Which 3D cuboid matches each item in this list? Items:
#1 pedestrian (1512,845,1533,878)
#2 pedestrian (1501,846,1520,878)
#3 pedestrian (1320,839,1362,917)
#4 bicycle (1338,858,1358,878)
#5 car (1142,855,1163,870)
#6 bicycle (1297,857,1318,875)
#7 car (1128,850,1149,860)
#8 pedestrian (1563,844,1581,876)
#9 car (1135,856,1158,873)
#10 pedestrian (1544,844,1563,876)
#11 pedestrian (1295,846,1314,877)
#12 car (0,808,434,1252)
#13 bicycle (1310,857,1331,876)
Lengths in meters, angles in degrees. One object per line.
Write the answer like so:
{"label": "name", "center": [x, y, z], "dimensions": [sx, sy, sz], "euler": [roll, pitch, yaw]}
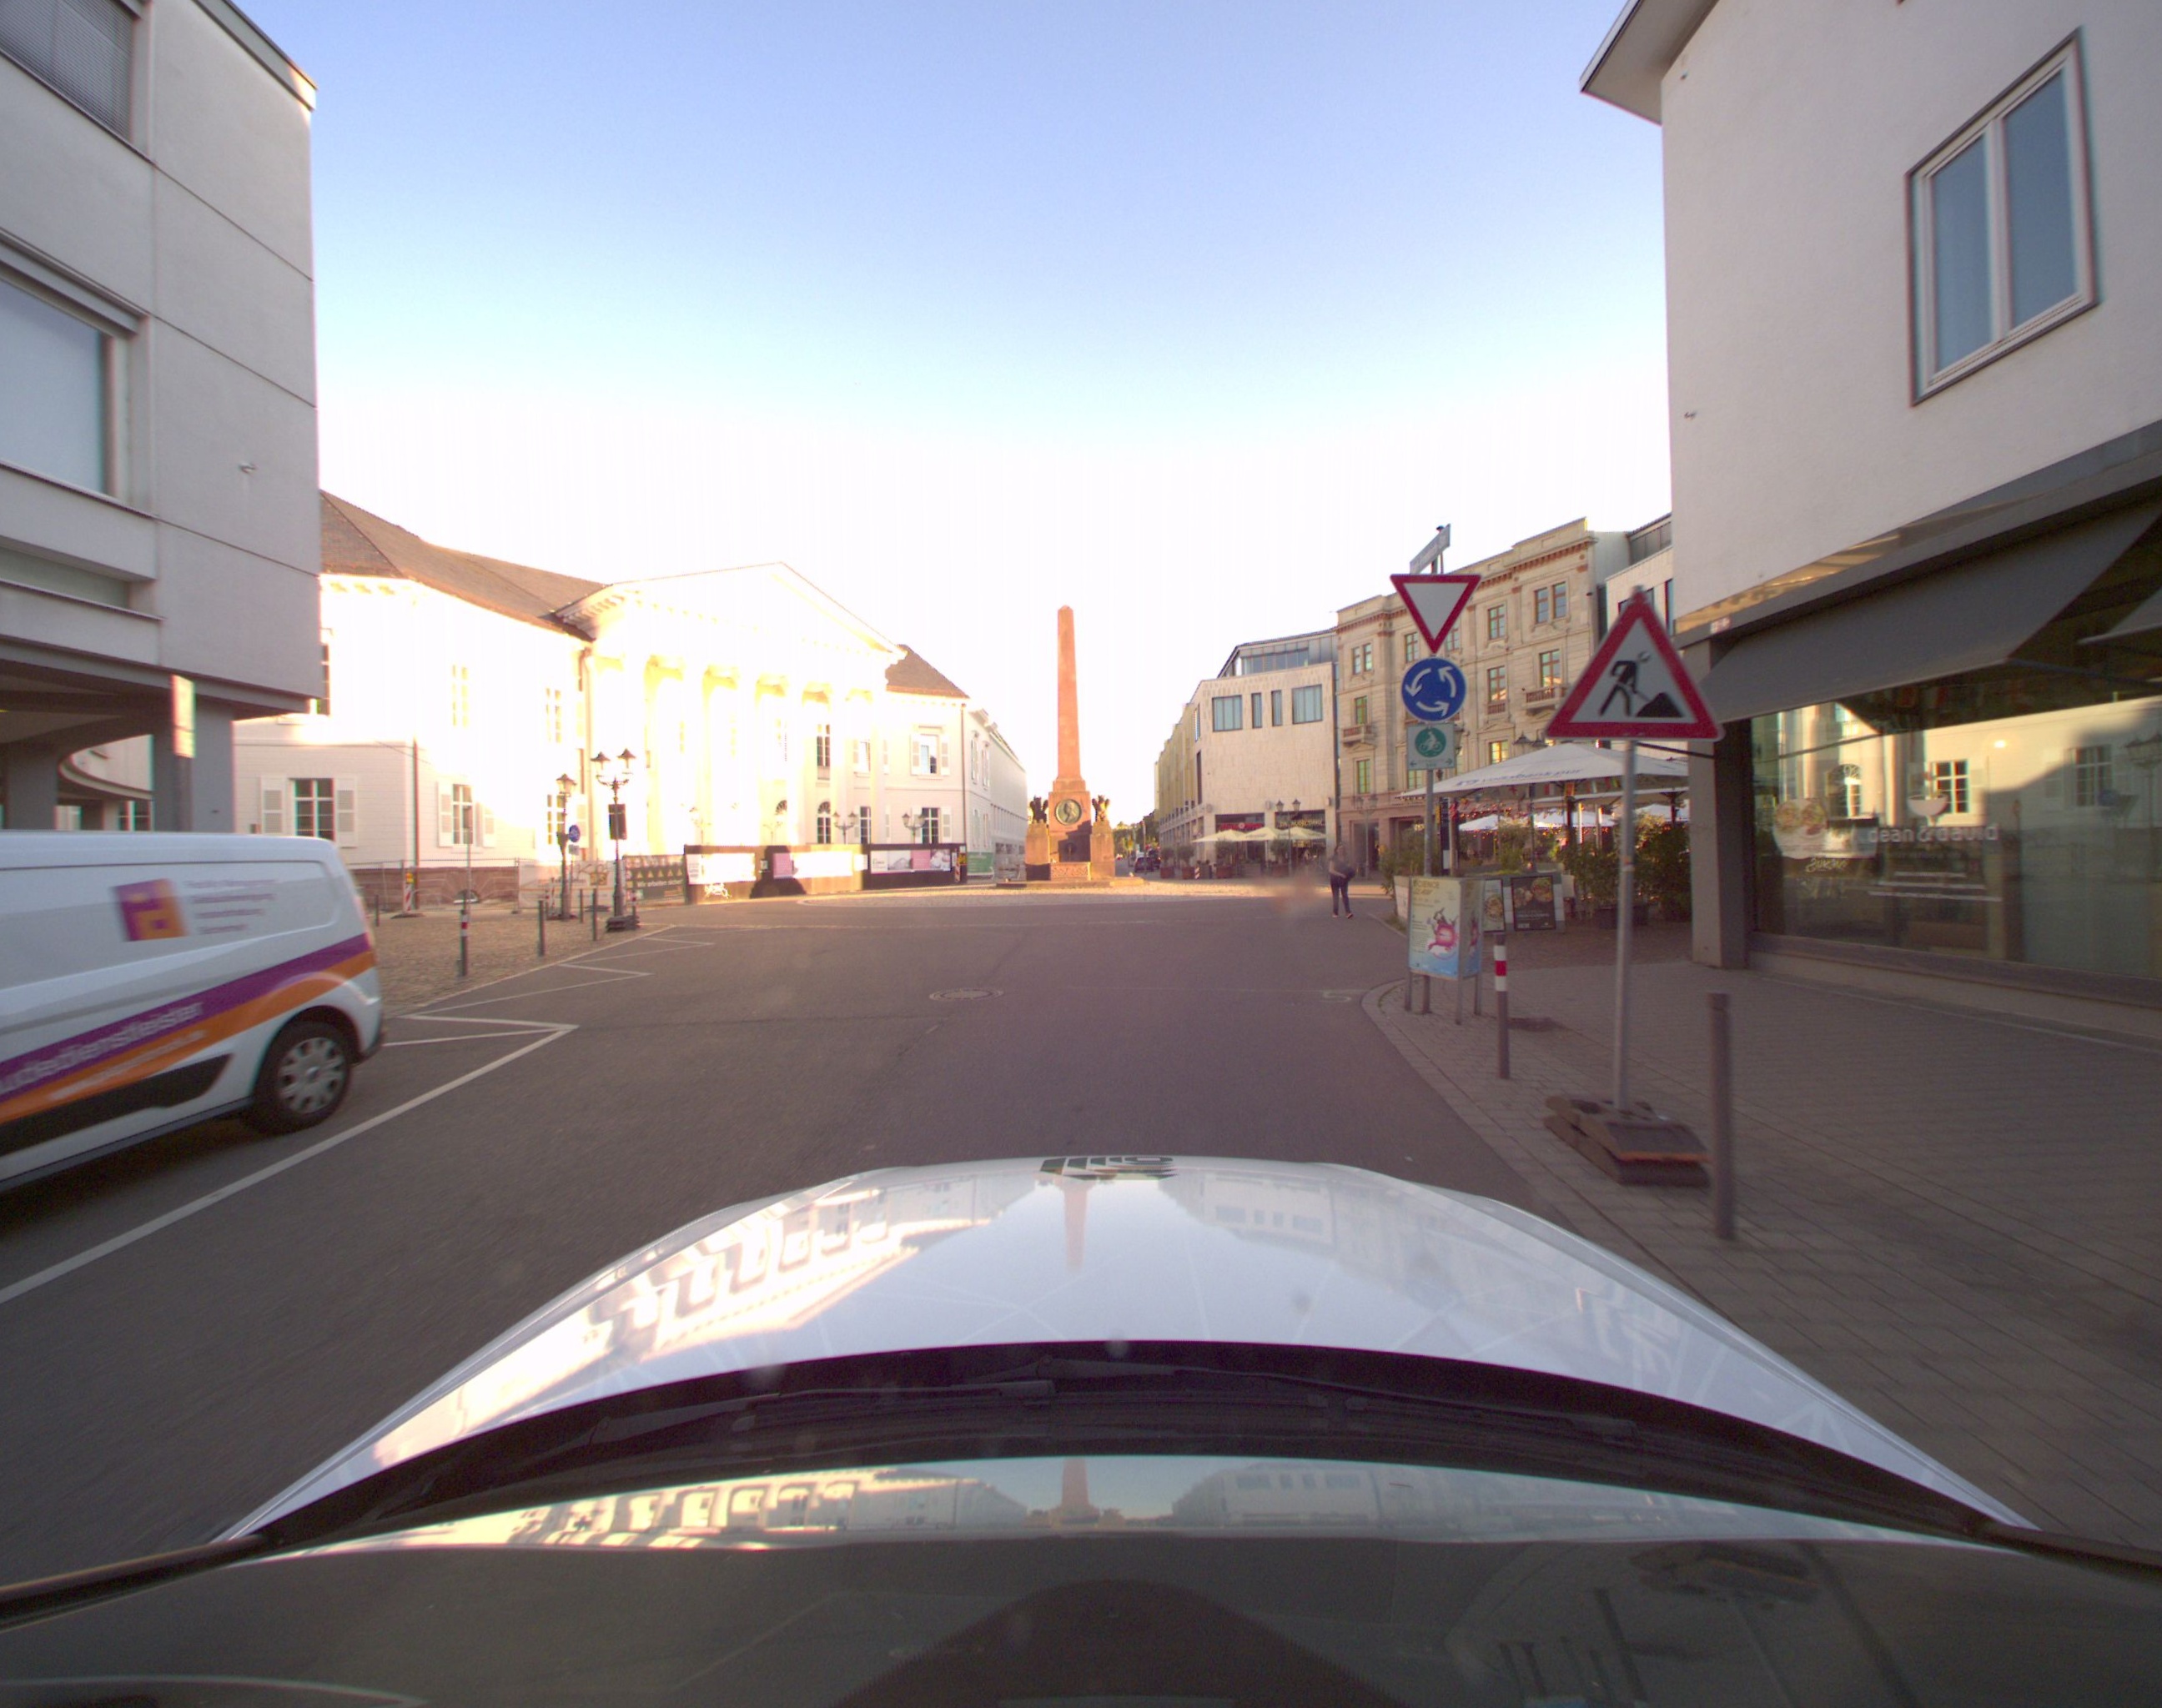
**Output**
{"label": "pedestrian", "center": [20.141, 0.354, 37.141], "dimensions": [0.584, 1.478, 0.685], "euler": [-2, 0, 5]}
{"label": "pedestrian", "center": [20.134, 0.359, 38.164], "dimensions": [0.541, 1.478, 0.625], "euler": [-2, 0, 3]}
{"label": "pedestrian", "center": [5.707, 0.518, 17.911], "dimensions": [0.687, 1.647, 0.696], "euler": [-2, 0, 1]}
{"label": "bicycle", "center": [14.650, 0.761, 44.618], "dimensions": [0.501, 1.031, 1.656], "euler": [-2, 0, 37]}
{"label": "car", "center": [7.433, 0.892, 84.942], "dimensions": [1.985, 1.464, 4.004], "euler": [-1, 0, 3]}
{"label": "bicycle", "center": [13.507, 0.727, 48.571], "dimensions": [0.593, 1.031, 1.656], "euler": [-2, 0, 37]}
{"label": "car", "center": [12.428, 0.149, 175.922], "dimensions": [3.948, 2.013, 2.013], "euler": [-2, 0, 39]}
{"label": "pedestrian", "center": [23.324, 0.268, 38.669], "dimensions": [0.540, 1.478, 0.626], "euler": [-2, 0, 13]}
{"label": "car", "center": [6.139, 0.942, 76.498], "dimensions": [1.985, 1.464, 4.004], "euler": [-1, 0, 3]}
{"label": "pedestrian", "center": [22.484, 0.293, 38.749], "dimensions": [0.586, 1.478, 0.626], "euler": [-2, 0, 13]}
{"label": "pedestrian", "center": [12.950, 0.430, 47.203], "dimensions": [0.899, 1.728, 0.852], "euler": [-2, 0, 10]}
{"label": "car", "center": [-5.426, 0.736, 3.343], "dimensions": [1.990, 1.816, 4.775], "euler": [-1, 0, -5]}
{"label": "bicycle", "center": [14.160, 0.734, 48.119], "dimensions": [0.613, 1.031, 1.656], "euler": [-2, 0, 37]}
